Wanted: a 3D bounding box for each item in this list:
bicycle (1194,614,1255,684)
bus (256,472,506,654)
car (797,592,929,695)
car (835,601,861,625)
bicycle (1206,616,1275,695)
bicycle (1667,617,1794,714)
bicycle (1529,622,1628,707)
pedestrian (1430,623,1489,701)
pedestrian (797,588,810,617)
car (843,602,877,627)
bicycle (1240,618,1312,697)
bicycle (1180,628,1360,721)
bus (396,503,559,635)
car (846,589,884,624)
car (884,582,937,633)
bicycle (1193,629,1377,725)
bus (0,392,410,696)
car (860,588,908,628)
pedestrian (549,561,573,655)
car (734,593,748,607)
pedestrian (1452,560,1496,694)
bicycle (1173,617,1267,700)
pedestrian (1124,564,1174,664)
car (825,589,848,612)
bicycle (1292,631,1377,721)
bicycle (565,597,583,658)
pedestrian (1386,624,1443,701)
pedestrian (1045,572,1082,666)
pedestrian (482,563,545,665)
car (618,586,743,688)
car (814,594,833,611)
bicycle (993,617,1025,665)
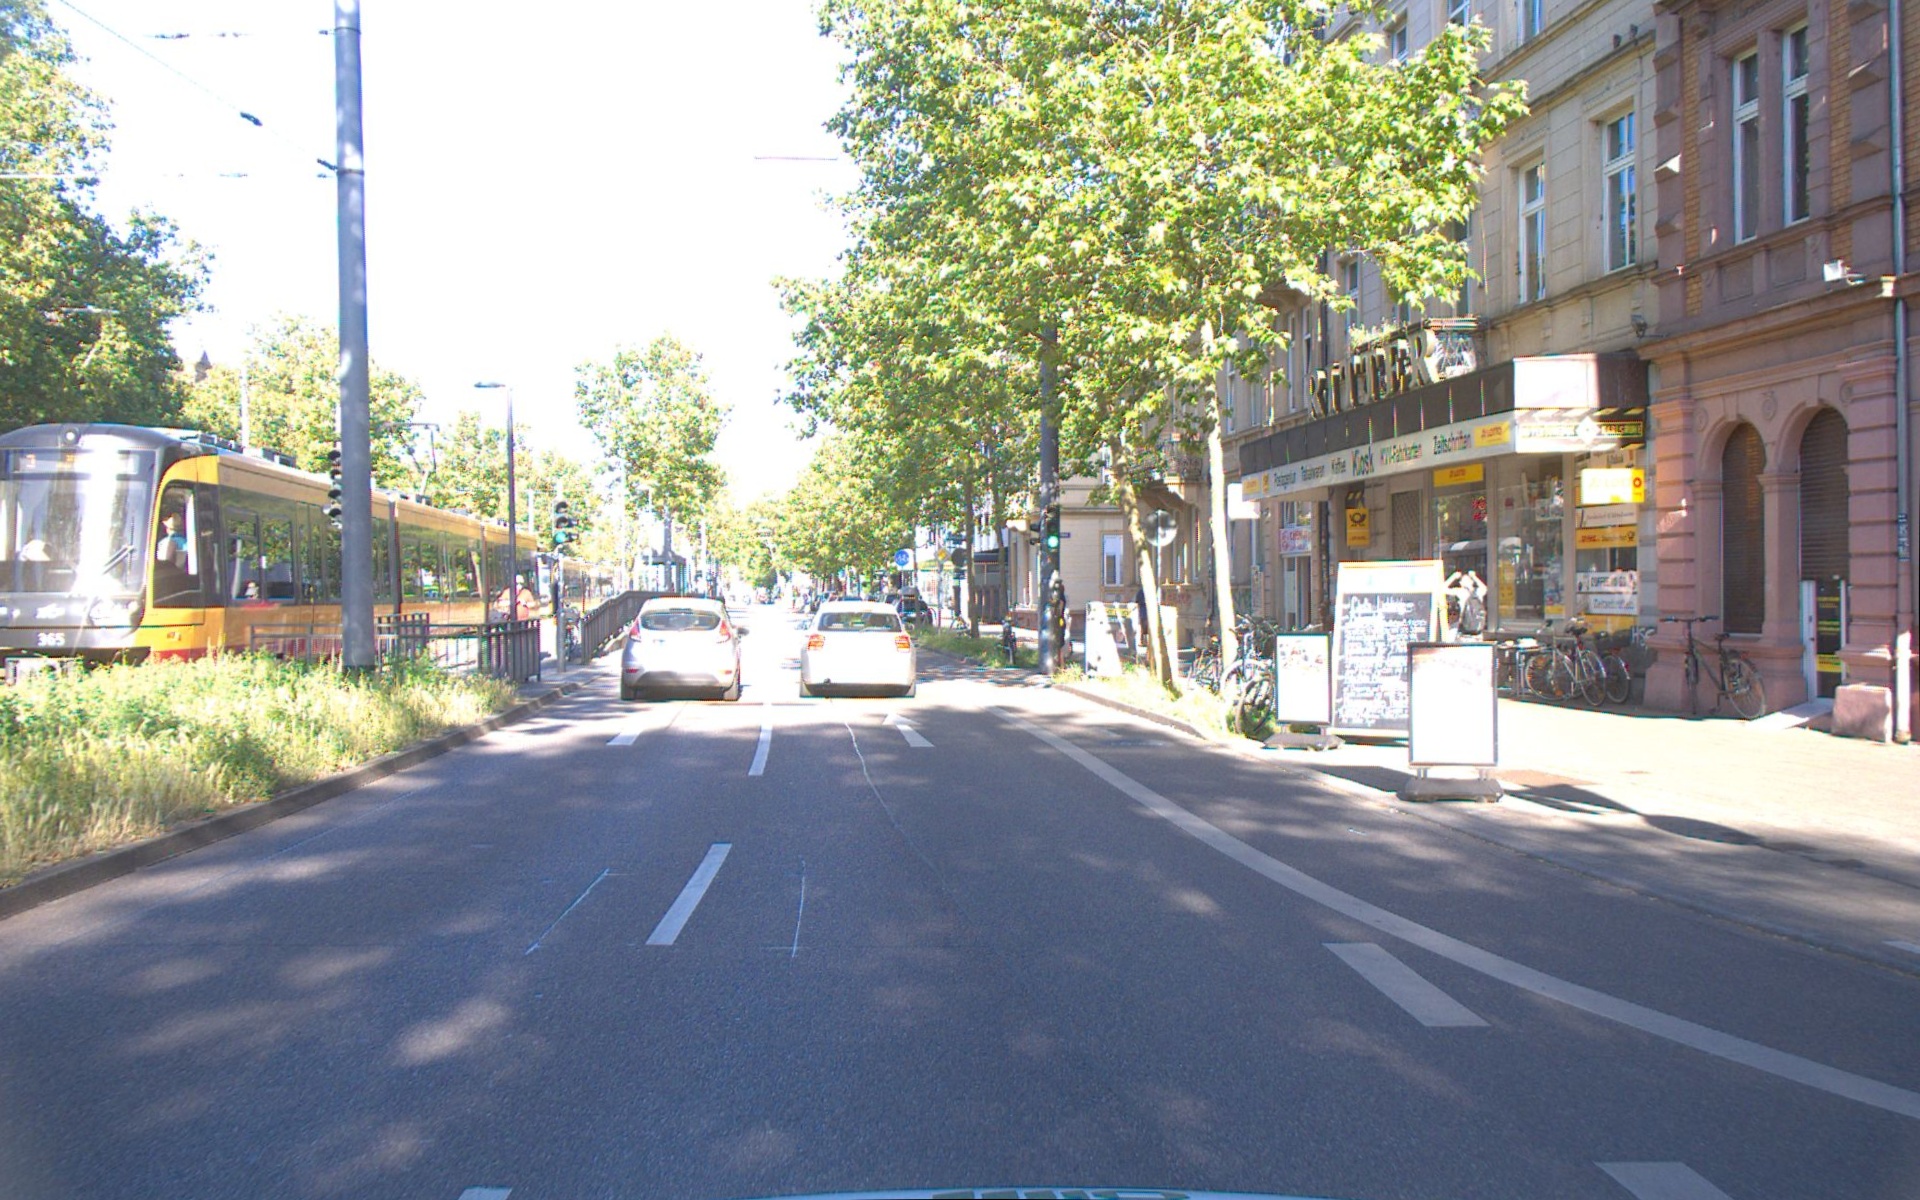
[{"bbox_3d":[4.035,0.731,25.311,0.434,1.010,1.685,1,0,-8],"label":"bicycle"},{"bbox_3d":[-12.893,-0.735,38.184,2.814,3.504,12.196,-1,0,-7],"label":"bus"},{"bbox_3d":[-1.591,0.624,25.873,1.729,1.457,3.993,1,0,-8],"label":"car"},{"bbox_3d":[-7.779,0.905,114.622,1.637,1.578,3.994,1,0,-7],"label":"car"},{"bbox_3d":[3.807,0.736,22.547,0.434,1.010,1.685,1,0,-8],"label":"bicycle"},{"bbox_3d":[8.601,0.710,18.527,0.434,1.010,1.685,1,0,-8],"label":"bicycle"},{"bbox_3d":[7.930,0.804,21.264,0.434,1.010,1.685,1,0,-8],"label":"bicycle"},{"bbox_3d":[7.772,0.968,25.757,0.635,1.181,0.607,1,0,-18],"label":"pedestrian"},{"bbox_3d":[-11.343,0.189,120.149,0.821,2.049,0.648,1,0,0],"label":"pedestrian"},{"bbox_3d":[-6.629,0.966,109.447,1.955,1.535,4.590,1,-1,-7],"label":"car"},{"bbox_3d":[4.306,0.771,22.640,0.434,1.010,1.685,1,0,-8],"label":"bicycle"},{"bbox_3d":[3.526,0.850,18.838,1.977,1.010,0.443,1,0,-10],"label":"bicycle"},{"bbox_3d":[-14.336,-0.844,50.134,2.814,3.504,11.593,-1,0,-7],"label":"bus"},{"bbox_3d":[-4.813,0.307,83.456,1.660,1.687,4.033,-1,1,-7],"label":"car"},{"bbox_3d":[-2.072,0.291,68.198,1.721,1.999,4.730,0,0,-7],"label":"car"},{"bbox_3d":[3.604,0.851,18.358,1.966,1.010,0.443,1,0,-10],"label":"bicycle"},{"bbox_3d":[-11.419,-0.667,25.627,2.814,3.504,13.197,-1,0,-7],"label":"bus"},{"bbox_3d":[-3.451,0.357,74.529,1.764,1.730,4.730,-1,0,-7],"label":"car"},{"bbox_3d":[-8.313,0.172,34.446,0.443,1.936,0.582,-1,0,-14],"label":"pedestrian"},{"bbox_3d":[-32.830,-0.053,247.579,1.955,2.049,3.994,1,0,-7],"label":"car"},{"bbox_3d":[7.232,0.371,23.259,0.458,1.842,0.773,1,0,24],"label":"pedestrian"},{"bbox_3d":[3.409,0.753,21.803,0.436,1.010,1.678,1,0,-21],"label":"bicycle"},{"bbox_3d":[3.951,0.285,34.591,0.864,2.049,0.856,1,0,-4],"label":"pedestrian"},{"bbox_3d":[-10.469,0.075,140.109,1.691,1.913,3.994,1,-1,-7],"label":"car"},{"bbox_3d":[4.555,0.906,20.228,0.434,1.010,1.685,1,0,-8],"label":"bicycle"},{"bbox_3d":[-8.068,0.557,34.593,0.322,1.235,1.823,-1,0,-13],"label":"bicycle"},{"bbox_3d":[7.186,0.984,26.162,0.764,1.181,0.464,1,0,-32],"label":"pedestrian"},{"bbox_3d":[2.026,0.364,32.521,0.629,1.802,0.868,1,0,-1],"label":"pedestrian"},{"bbox_3d":[-8.720,0.269,32.365,1.052,1.949,1.124,-1,0,-9],"label":"pedestrian"},{"bbox_3d":[-4.113,0.502,24.757,1.615,1.386,3.754,1,0,-7],"label":"car"},{"bbox_3d":[-12.940,0.247,156.363,1.668,1.561,3.711,1,0,-7],"label":"car"},{"bbox_3d":[1.064,0.875,36.153,0.419,0.987,1.748,1,0,-7],"label":"bicycle"}]
